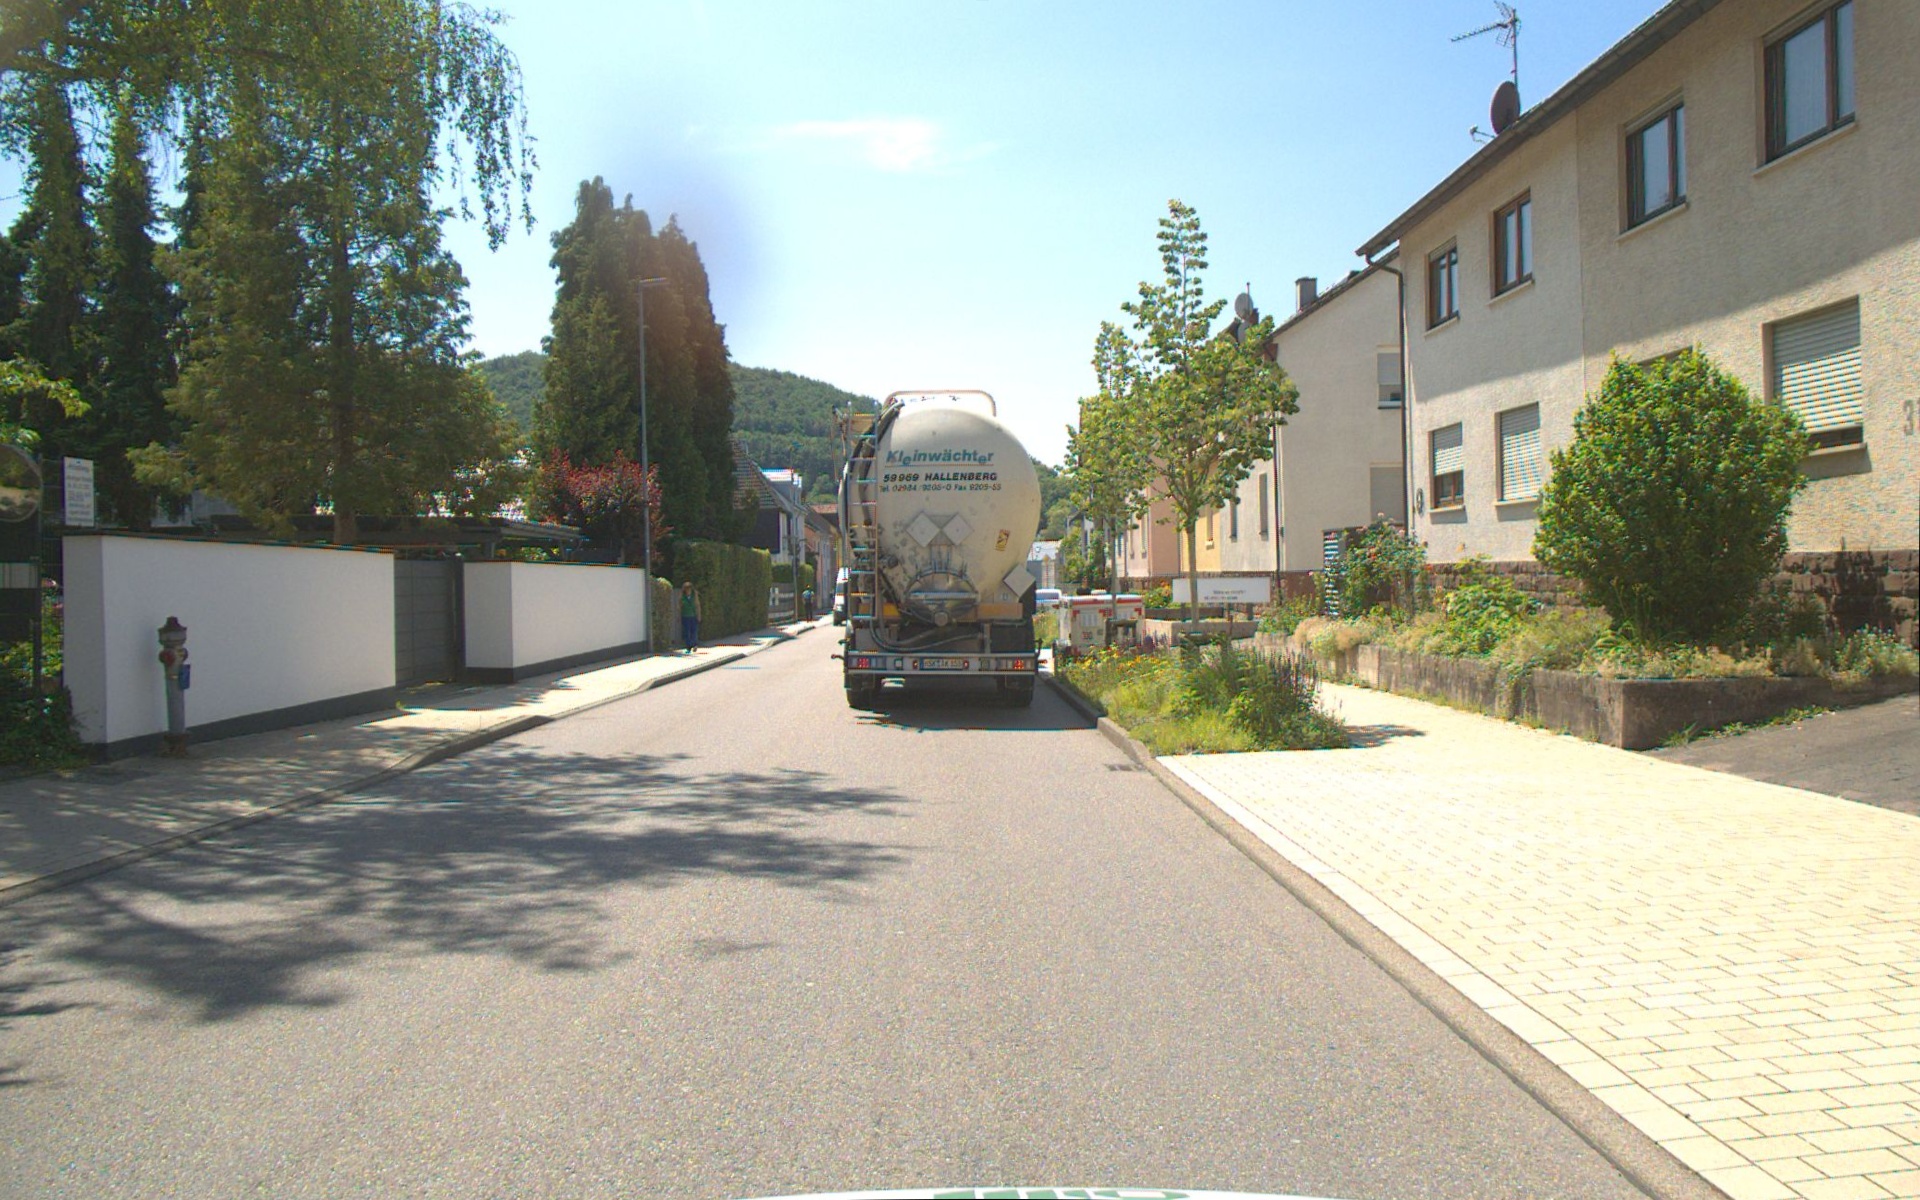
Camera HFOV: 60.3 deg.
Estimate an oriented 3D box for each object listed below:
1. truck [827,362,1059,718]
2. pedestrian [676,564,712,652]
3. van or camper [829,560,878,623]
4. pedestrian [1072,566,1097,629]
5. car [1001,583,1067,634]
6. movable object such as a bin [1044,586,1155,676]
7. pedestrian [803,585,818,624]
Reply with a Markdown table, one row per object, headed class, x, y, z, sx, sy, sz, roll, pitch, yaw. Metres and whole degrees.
| class | x | y | z | sx | sy | sz | roll | pitch | yaw |
| --- | --- | --- | --- | --- | --- | --- | --- | --- | --- |
| truck | -0.344 | -0.710 | 24.662 | 2.694 | 4.128 | 10.885 | 0 | 0 | -2 |
| pedestrian | -6.253 | 0.197 | 38.951 | 0.706 | 2.049 | 0.804 | 1 | -1 | -2 |
| van or camper | -4.858 | -0.330 | 75.898 | 1.996 | 2.761 | 5.822 | 1 | -1 | -2 |
| pedestrian | 4.159 | -0.079 | 55.226 | 0.731 | 2.049 | 1.033 | 1 | -1 | 0 |
| car | 2.279 | 0.318 | 51.999 | 1.721 | 1.442 | 4.631 | -3 | -1 | -1 |
| movable object such as a bin | 2.354 | 0.526 | 28.550 | 1.540 | 1.441 | 3.040 | -1 | -1 | -2 |
| pedestrian | -7.170 | 0.232 | 79.257 | 0.698 | 1.855 | 0.897 | 1 | -1 | -5 |
